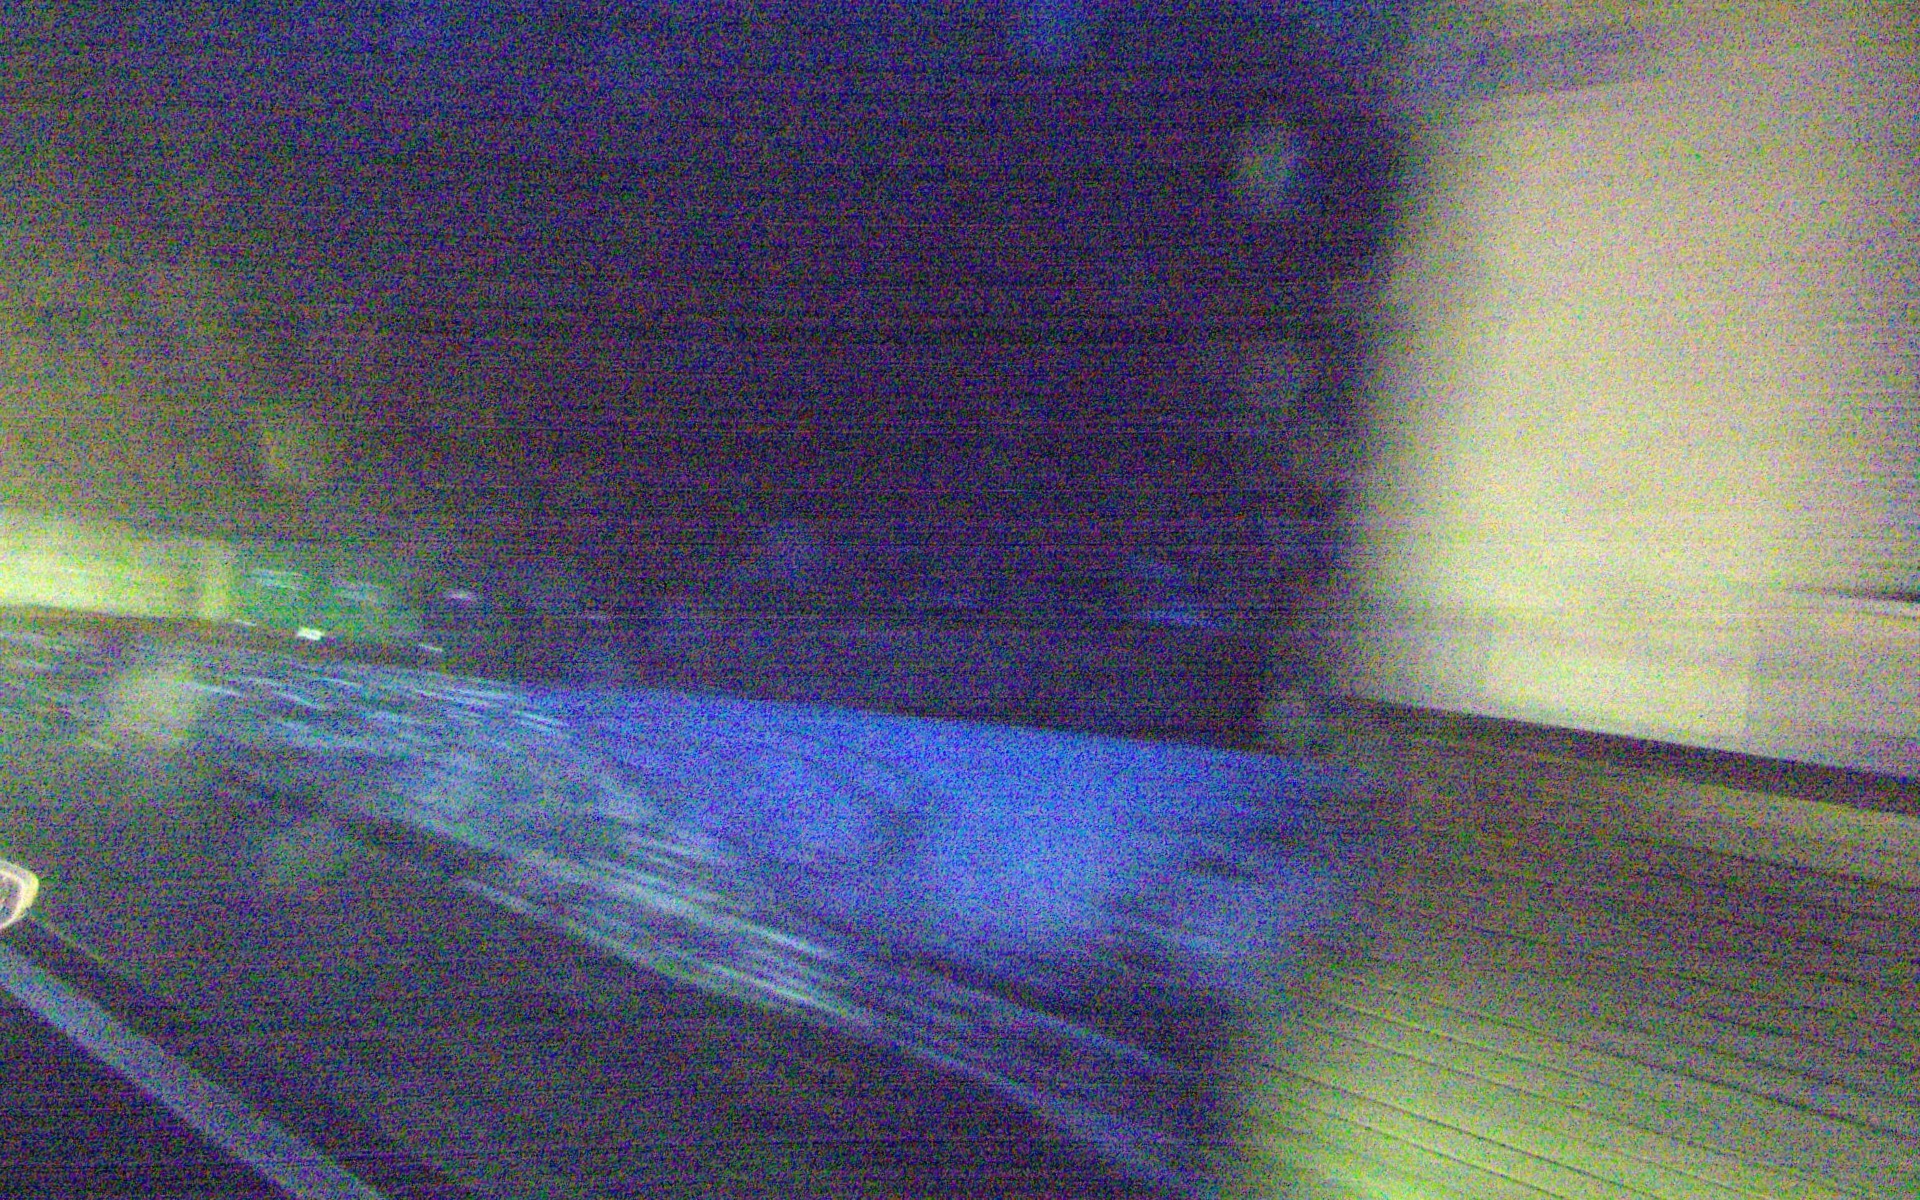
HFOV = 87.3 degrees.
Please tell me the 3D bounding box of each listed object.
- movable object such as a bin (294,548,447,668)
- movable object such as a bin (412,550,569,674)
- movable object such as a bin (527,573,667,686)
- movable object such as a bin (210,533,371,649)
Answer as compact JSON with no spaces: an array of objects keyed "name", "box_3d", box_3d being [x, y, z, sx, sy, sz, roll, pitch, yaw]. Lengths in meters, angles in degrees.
[{"name":"movable object such as a bin","box_3d":[-7.632,0.104,13.106,1.211,1.341,1.152,7,0,-5]},{"name":"movable object such as a bin","box_3d":[-6.155,0.166,13.288,1.365,1.430,1.251,6,0,0]},{"name":"movable object such as a bin","box_3d":[-4.781,0.385,13.365,1.293,1.315,1.251,6,0,0]},{"name":"movable object such as a bin","box_3d":[-8.918,-0.126,13.483,1.300,1.325,1.174,7,1,-7]}]
